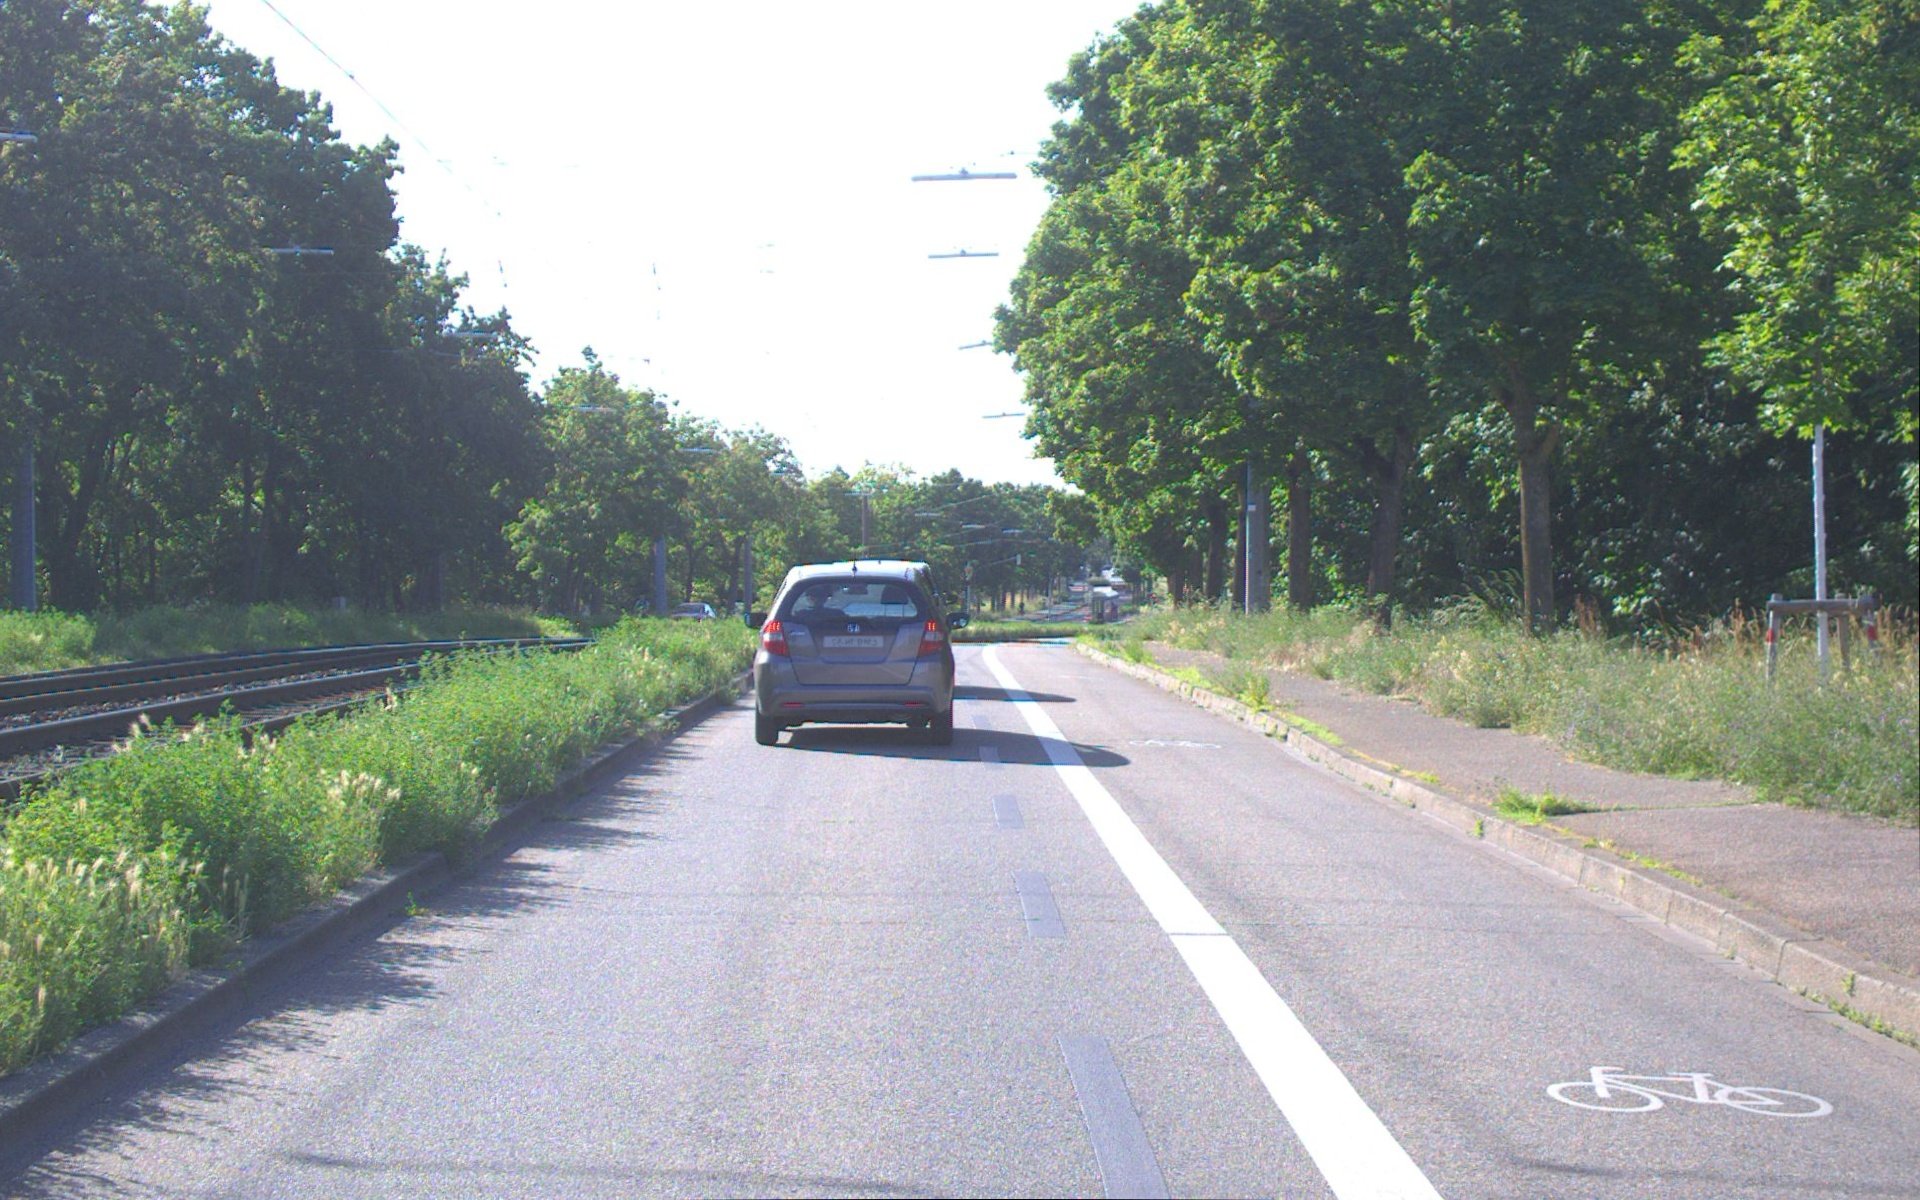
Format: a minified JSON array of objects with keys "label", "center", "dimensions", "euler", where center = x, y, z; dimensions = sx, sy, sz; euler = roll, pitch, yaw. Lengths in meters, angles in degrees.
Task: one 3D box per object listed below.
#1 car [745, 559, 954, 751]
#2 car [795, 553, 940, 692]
[{"label":"car","center":[-0.908,0.430,30.093],"dimensions":[1.670,1.502,3.811],"euler":[1,1,0]},{"label":"car","center":[-1.105,0.238,42.674],"dimensions":[1.654,1.502,3.811],"euler":[1,2,0]}]
